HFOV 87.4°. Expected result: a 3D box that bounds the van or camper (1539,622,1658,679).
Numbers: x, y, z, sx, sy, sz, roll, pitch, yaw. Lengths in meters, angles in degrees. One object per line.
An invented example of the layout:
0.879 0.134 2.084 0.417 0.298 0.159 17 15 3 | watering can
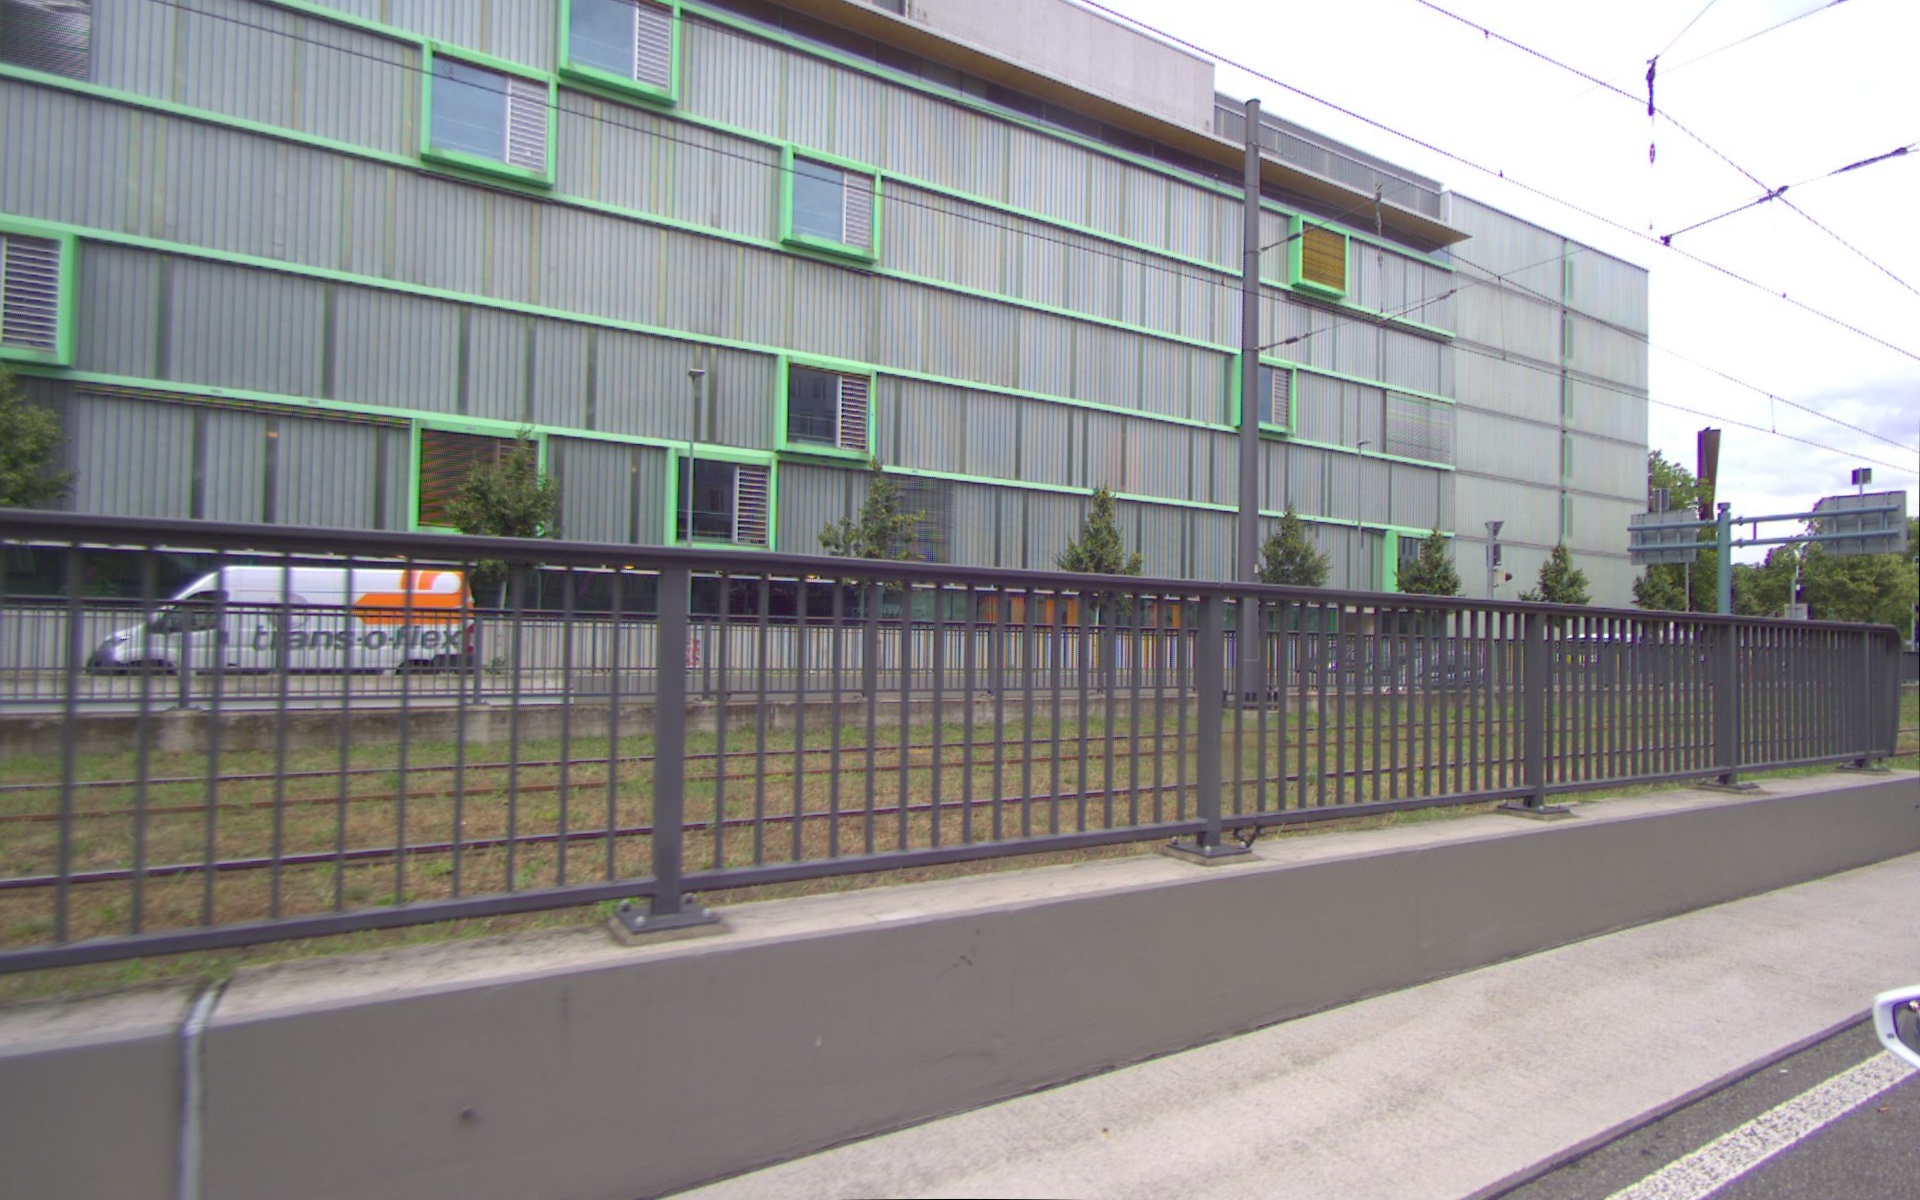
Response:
27.287 2.133 42.901 5.297 2.316 2.162 2 -2 -31 | van or camper

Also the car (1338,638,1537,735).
11.554 1.982 24.210 4.915 1.787 1.983 -3 1 -32 | car

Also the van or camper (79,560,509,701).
-12.197 0.598 19.077 6.429 2.317 2.162 2 -1 -30 | van or camper

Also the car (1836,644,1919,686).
37.470 2.587 40.553 4.914 1.534 1.773 1 -1 -31 | car
